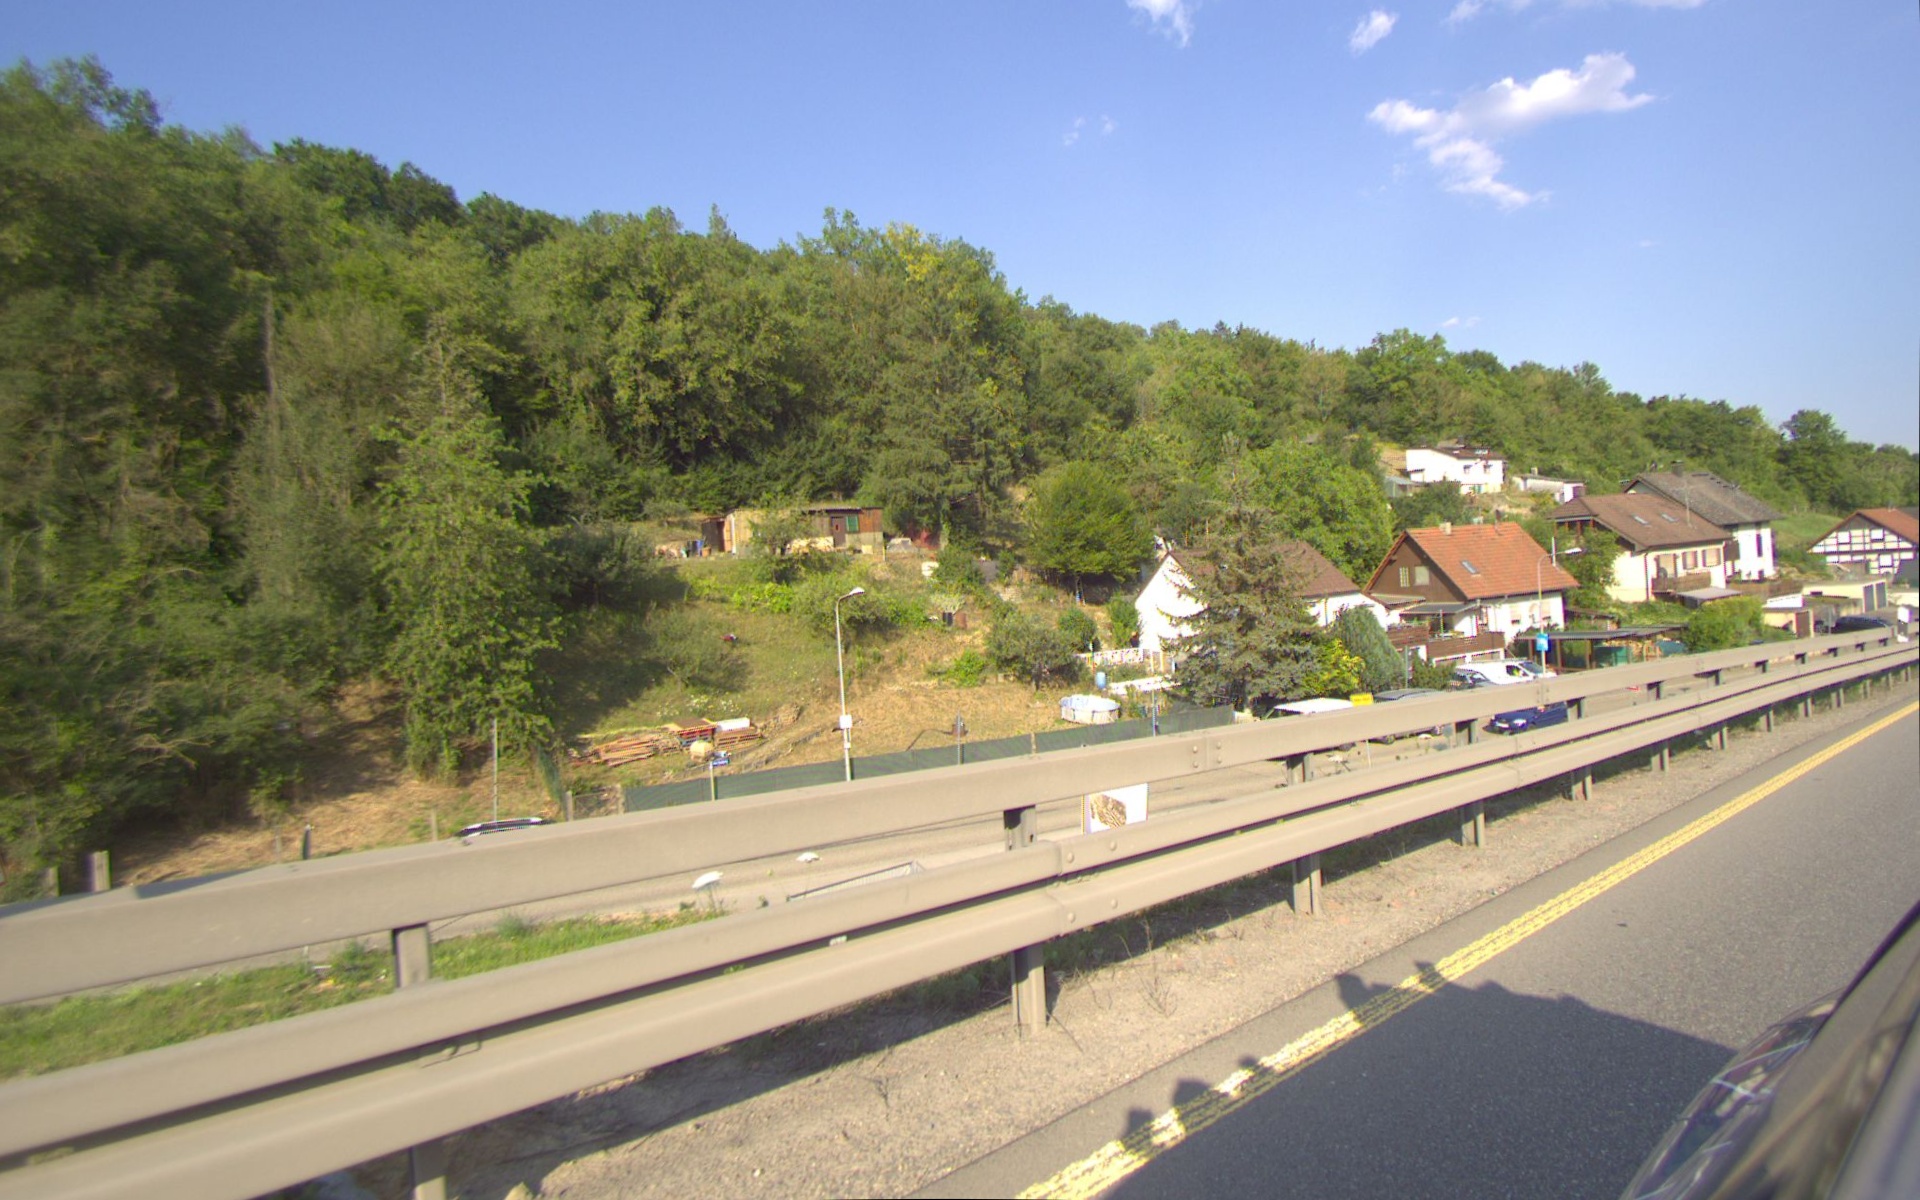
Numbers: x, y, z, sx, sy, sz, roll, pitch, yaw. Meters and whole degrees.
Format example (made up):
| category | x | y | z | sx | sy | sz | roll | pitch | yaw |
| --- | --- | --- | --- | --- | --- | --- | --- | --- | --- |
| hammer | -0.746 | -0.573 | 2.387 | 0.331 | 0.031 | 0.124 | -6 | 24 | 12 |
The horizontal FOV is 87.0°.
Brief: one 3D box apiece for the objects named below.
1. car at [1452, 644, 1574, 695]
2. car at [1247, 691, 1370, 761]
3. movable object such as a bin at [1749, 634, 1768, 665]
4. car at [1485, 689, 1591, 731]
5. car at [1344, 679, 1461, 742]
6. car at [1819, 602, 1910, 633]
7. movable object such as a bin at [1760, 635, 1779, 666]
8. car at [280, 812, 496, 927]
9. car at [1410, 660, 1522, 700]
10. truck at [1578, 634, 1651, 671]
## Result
| category | x | y | z | sx | sy | sz | roll | pitch | yaw |
| --- | --- | --- | --- | --- | --- | --- | --- | --- | --- |
| car | 29.639 | 3.672 | 54.434 | 1.961 | 2.292 | 5.489 | -3 | 1 | -30 |
| car | 13.983 | 4.979 | 40.519 | 4.953 | 2.010 | 1.870 | -4 | 3 | -30 |
| movable object such as a bin | 48.466 | 2.986 | 61.430 | 0.400 | 1.794 | 0.537 | -3 | -8 | -25 |
| car | 24.519 | 4.649 | 42.996 | 3.542 | 1.619 | 1.775 | 0 | -3 | -11 |
| car | 18.848 | 4.647 | 43.084 | 4.766 | 1.940 | 2.005 | -3 | 3 | -28 |
| car | 66.290 | 1.241 | 74.250 | 1.961 | 1.542 | 4.519 | -4 | 8 | -29 |
| movable object such as a bin | 49.598 | 3.106 | 61.987 | 0.405 | 1.794 | 0.491 | -3 | -8 | -25 |
| car | -13.732 | 6.455 | 24.631 | 4.405 | 1.807 | 1.872 | -1 | 0 | -25 |
| car | 26.314 | 4.130 | 52.811 | 1.682 | 1.576 | 5.111 | -3 | 1 | -30 |
| truck | 38.443 | 3.071 | 59.564 | 1.968 | 1.759 | 3.988 | -7 | -2 | 9 |
